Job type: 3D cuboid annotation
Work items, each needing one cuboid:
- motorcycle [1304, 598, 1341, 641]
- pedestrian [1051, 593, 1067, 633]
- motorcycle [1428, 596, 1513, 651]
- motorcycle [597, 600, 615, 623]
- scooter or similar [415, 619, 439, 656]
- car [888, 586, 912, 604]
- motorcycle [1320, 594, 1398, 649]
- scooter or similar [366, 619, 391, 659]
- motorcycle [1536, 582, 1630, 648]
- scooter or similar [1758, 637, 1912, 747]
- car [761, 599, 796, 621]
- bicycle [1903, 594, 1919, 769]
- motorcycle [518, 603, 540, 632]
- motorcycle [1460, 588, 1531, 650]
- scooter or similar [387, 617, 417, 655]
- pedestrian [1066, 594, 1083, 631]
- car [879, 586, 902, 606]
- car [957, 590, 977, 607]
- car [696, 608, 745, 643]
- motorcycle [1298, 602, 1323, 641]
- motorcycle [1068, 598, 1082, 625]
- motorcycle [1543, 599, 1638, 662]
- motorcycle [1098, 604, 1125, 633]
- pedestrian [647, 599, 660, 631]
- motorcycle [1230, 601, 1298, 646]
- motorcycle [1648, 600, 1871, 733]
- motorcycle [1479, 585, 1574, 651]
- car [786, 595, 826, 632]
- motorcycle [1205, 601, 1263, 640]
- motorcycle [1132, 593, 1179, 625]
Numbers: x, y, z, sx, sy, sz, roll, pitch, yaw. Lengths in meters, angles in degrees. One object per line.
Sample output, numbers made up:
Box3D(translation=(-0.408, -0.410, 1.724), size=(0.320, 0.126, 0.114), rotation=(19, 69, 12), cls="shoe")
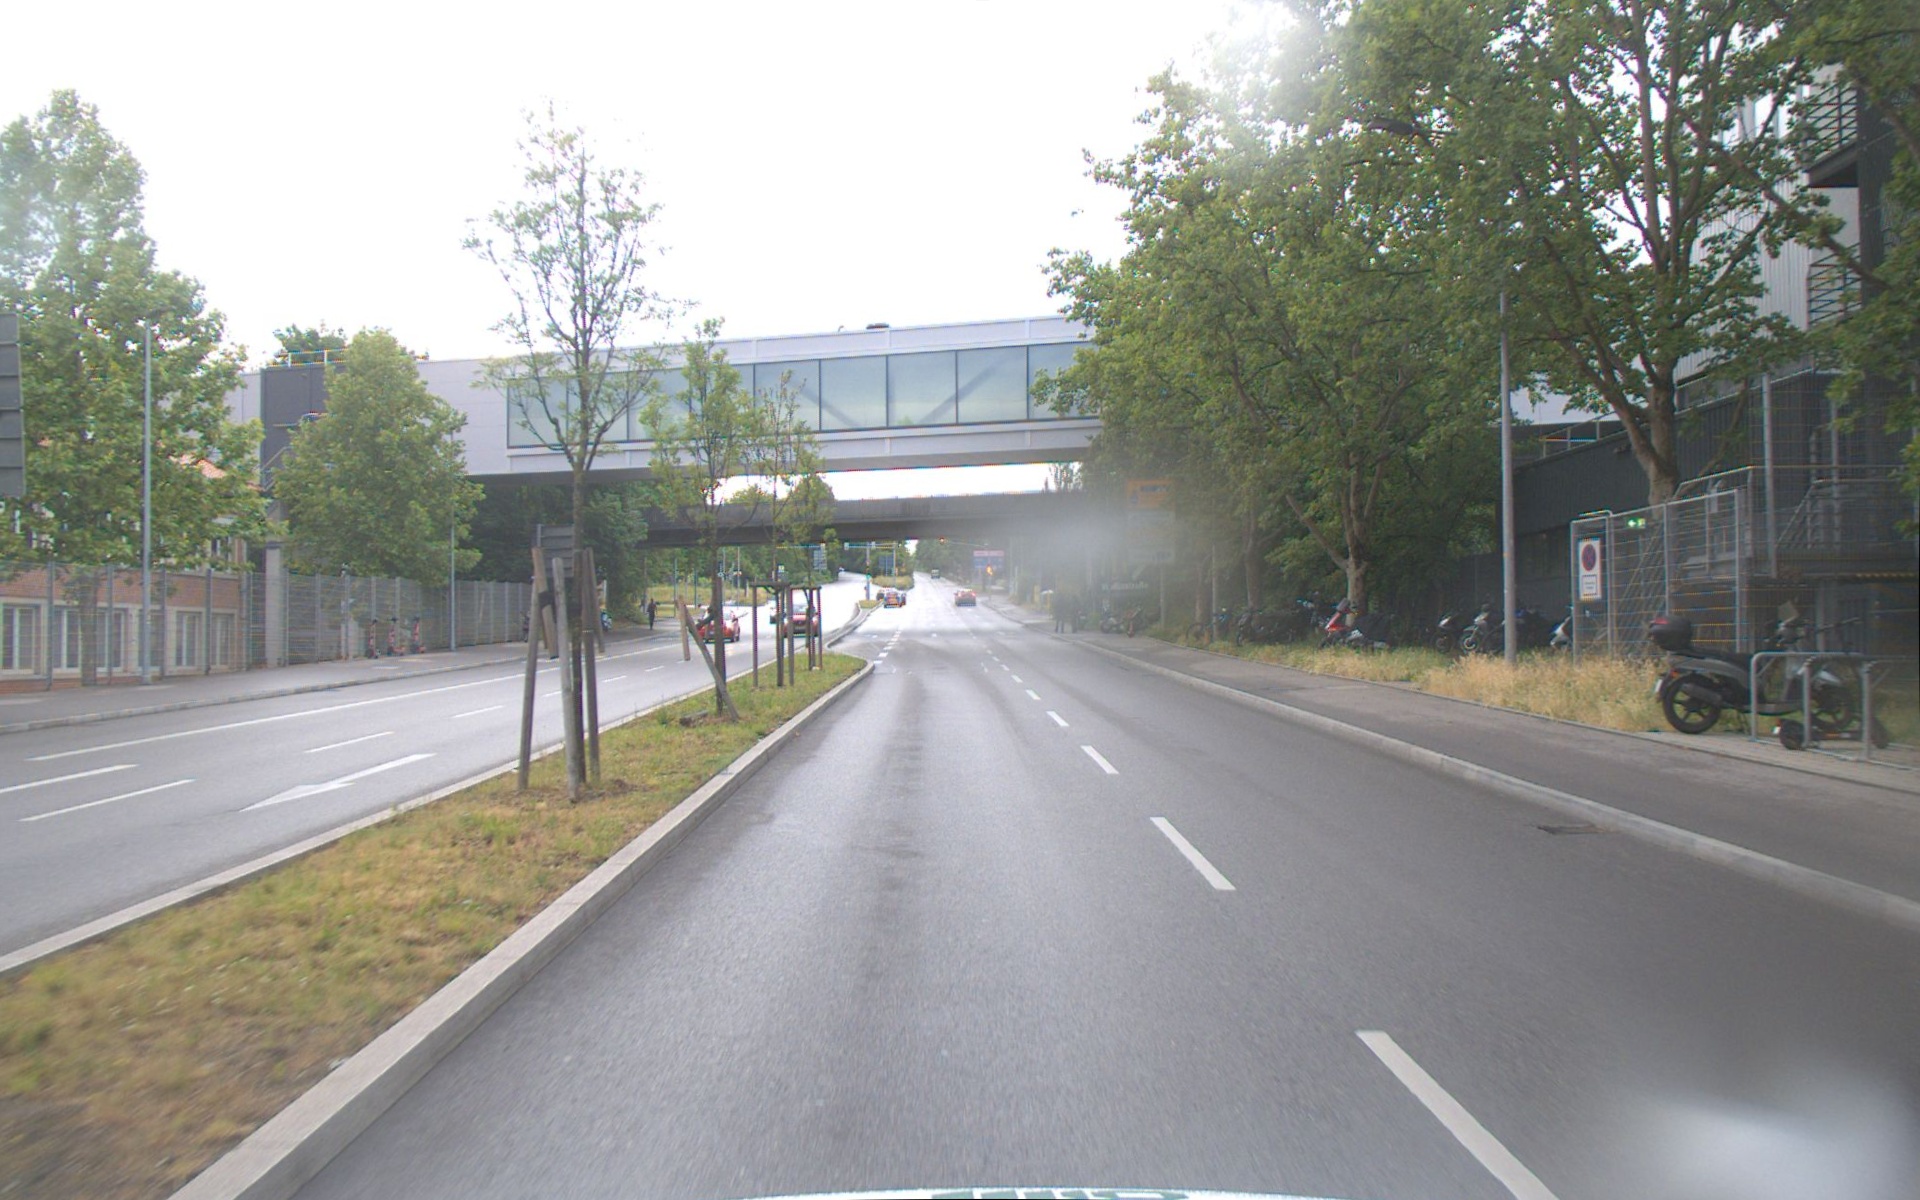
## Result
Box3D(translation=(11.262, 0.594, 51.427), size=(0.632, 1.302, 1.990), rotation=(-1, 0, -1), cls="motorcycle")
Box3D(translation=(4.395, 0.574, 73.186), size=(0.598, 1.751, 0.892), rotation=(-1, 0, 9), cls="pedestrian")
Box3D(translation=(12.249, 0.552, 39.715), size=(1.874, 1.279, 0.491), rotation=(1, -1, 5), cls="motorcycle")
Box3D(translation=(-19.234, 0.609, 89.792), size=(0.459, 1.179, 1.933), rotation=(-1, 1, 2), cls="motorcycle")
Box3D(translation=(-18.558, 1.303, 57.580), size=(0.305, 1.239, 1.308), rotation=(-1, 0, 4), cls="scooter or similar")
Box3D(translation=(-5.997, -0.491, 166.189), size=(2.121, 1.610, 4.664), rotation=(1, -1, 1), cls="car")
Box3D(translation=(8.796, 0.479, 36.468), size=(1.618, 1.170, 0.493), rotation=(1, -1, 7), cls="motorcycle")
Box3D(translation=(-18.493, 1.241, 52.627), size=(0.305, 1.239, 1.307), rotation=(-1, 0, -1), cls="scooter or similar")
Box3D(translation=(11.328, 0.274, 30.142), size=(0.469, 1.166, 1.885), rotation=(1, -1, -21), cls="motorcycle")
Box3D(translation=(8.204, 0.846, 15.504), size=(1.450, 0.953, 0.364), rotation=(-1, -1, -19), cls="scooter or similar")
Box3D(translation=(-12.218, 0.635, 111.594), size=(2.022, 1.385, 4.754), rotation=(-1, 0, -3), cls="car")
Box3D(translation=(8.450, 0.619, 13.138), size=(1.826, 1.372, 0.446), rotation=(-1, -1, -14), cls="bicycle")
Box3D(translation=(-18.937, 0.765, 72.633), size=(0.459, 1.226, 1.996), rotation=(-1, 1, -1), cls="motorcycle")
Box3D(translation=(12.166, 0.436, 37.585), size=(1.470, 1.389, 0.505), rotation=(1, -1, -6), cls="motorcycle")
Box3D(translation=(-18.564, 1.193, 55.026), size=(0.305, 1.239, 1.309), rotation=(-1, 0, 11), cls="scooter or similar")
Box3D(translation=(5.063, 0.555, 72.972), size=(0.636, 1.624, 0.579), rotation=(-1, 0, 10), cls="pedestrian")
Box3D(translation=(-6.448, -0.318, 152.912), size=(2.035, 1.748, 4.195), rotation=(1, -1, -3), cls="car")
Box3D(translation=(0.653, -0.122, 152.226), size=(1.709, 1.495, 4.165), rotation=(0, 1, -2), cls="car")
Box3D(translation=(-10.673, 1.118, 73.908), size=(1.681, 1.462, 3.770), rotation=(-3, 0, -2), cls="car")
Box3D(translation=(12.157, 0.749, 57.343), size=(0.341, 1.302, 2.069), rotation=(-1, 0, 26), cls="motorcycle")
Box3D(translation=(5.089, 0.497, 73.266), size=(0.460, 1.156, 1.818), rotation=(-1, 0, -2), cls="motorcycle")
Box3D(translation=(12.047, 0.580, 31.635), size=(1.603, 1.166, 0.560), rotation=(1, -1, 10), cls="motorcycle")
Box3D(translation=(6.529, 0.789, 71.324), size=(0.462, 1.234, 1.935), rotation=(-1, 0, -16), cls="motorcycle")
Box3D(translation=(-18.052, 0.863, 97.436), size=(0.508, 1.847, 0.800), rotation=(0, 0, 9), cls="pedestrian")
Box3D(translation=(8.540, 0.644, 46.492), size=(1.819, 1.212, 0.519), rotation=(-1, 0, -17), cls="motorcycle")
Box3D(translation=(8.146, 0.675, 16.912), size=(1.966, 1.295, 0.442), rotation=(-2, 0, 11), cls="motorcycle")
Box3D(translation=(12.233, 0.388, 35.723), size=(1.891, 1.389, 0.505), rotation=(1, -1, -6), cls="motorcycle")
Box3D(translation=(-7.332, 0.632, 79.013), size=(1.553, 1.633, 3.854), rotation=(-3, 0, -1), cls="car")
Box3D(translation=(9.209, 0.684, 55.540), size=(1.819, 1.275, 0.627), rotation=(-1, 0, -17), cls="motorcycle")
Box3D(translation=(8.200, 0.374, 69.313), size=(1.904, 1.320, 0.546), rotation=(-2, 0, 34), cls="motorcycle")
